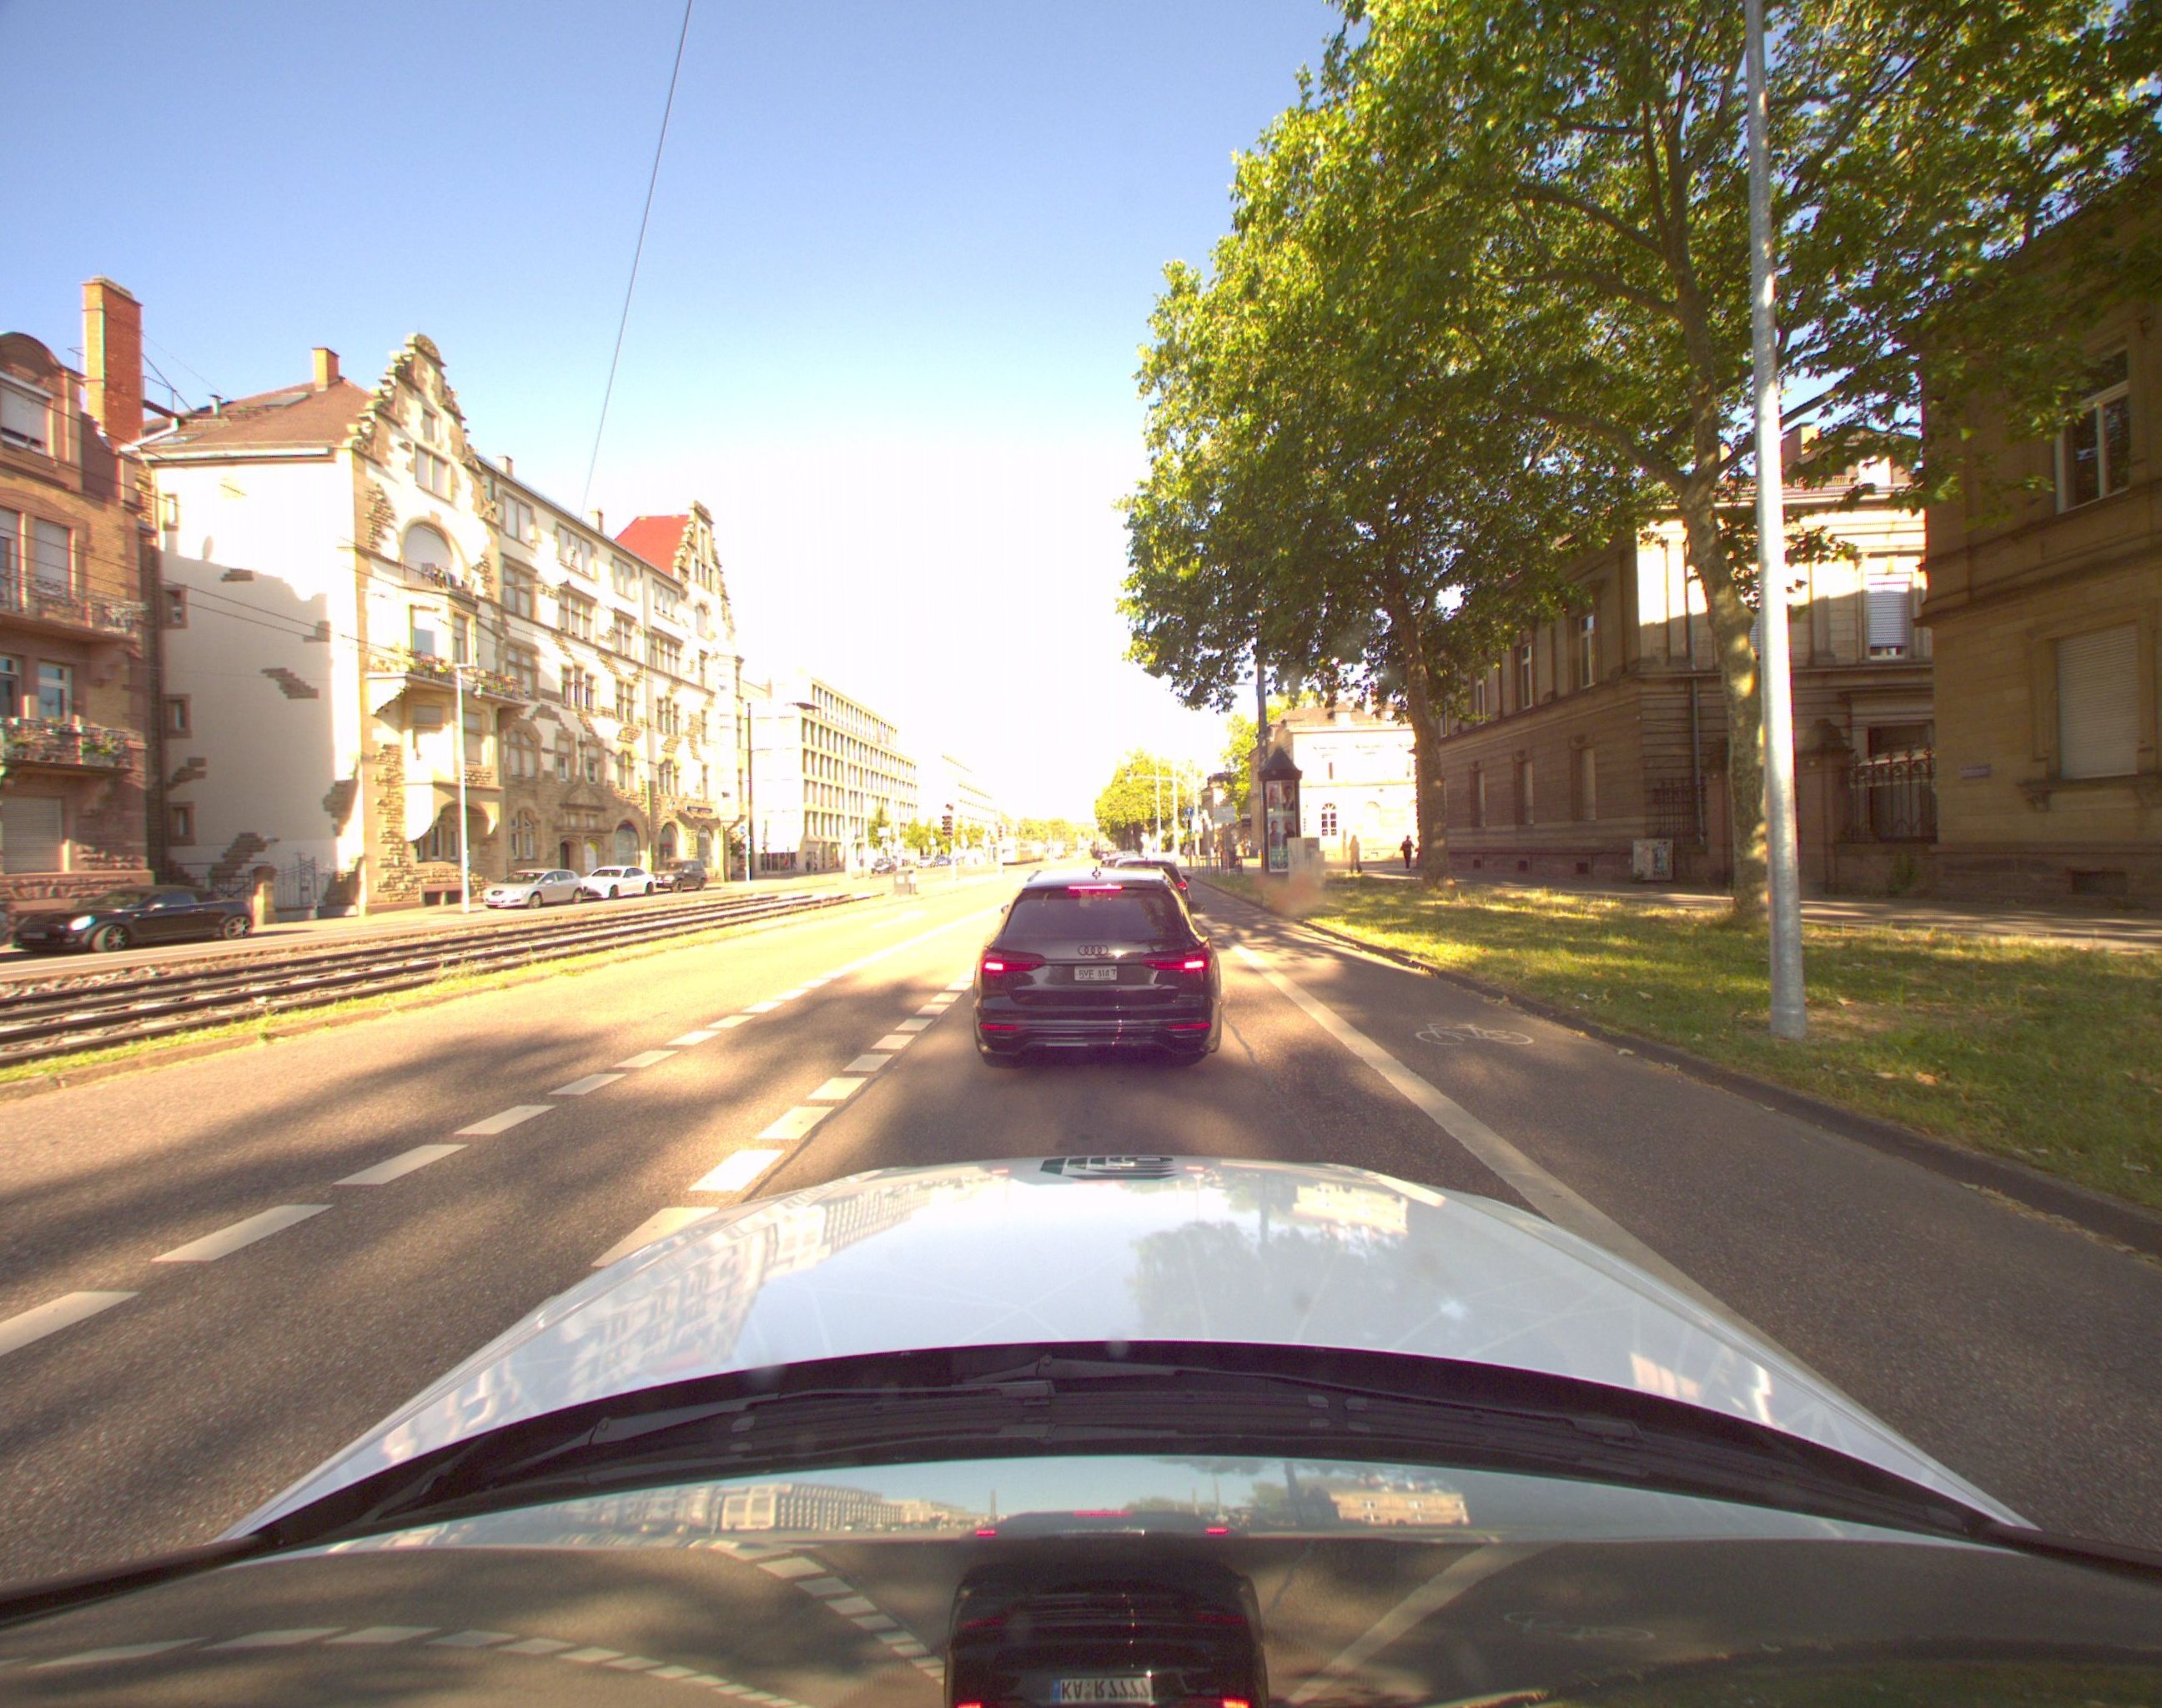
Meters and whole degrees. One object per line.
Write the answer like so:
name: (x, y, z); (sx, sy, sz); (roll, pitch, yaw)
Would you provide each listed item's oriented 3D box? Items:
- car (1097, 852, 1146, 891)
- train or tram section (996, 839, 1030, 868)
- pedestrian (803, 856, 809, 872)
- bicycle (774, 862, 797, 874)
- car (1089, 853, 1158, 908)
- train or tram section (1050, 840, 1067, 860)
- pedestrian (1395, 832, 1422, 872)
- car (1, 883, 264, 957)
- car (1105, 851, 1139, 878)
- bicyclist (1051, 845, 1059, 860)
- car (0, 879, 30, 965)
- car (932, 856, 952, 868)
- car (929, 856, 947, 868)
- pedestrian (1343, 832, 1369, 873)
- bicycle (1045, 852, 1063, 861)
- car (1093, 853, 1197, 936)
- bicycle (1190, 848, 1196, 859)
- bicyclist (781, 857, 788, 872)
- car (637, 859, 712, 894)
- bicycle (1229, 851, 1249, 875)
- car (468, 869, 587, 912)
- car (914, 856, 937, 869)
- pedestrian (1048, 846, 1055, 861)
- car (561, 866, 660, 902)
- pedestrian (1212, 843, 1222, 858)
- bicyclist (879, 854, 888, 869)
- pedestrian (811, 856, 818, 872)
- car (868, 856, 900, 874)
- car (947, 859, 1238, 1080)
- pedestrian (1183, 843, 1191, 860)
car: (1.659, 0.682, 33.726); (1.895, 1.486, 4.147); (-1, 0, 3)
train or tram section: (-8.787, -0.064, 107.060); (2.802, 3.489, 13.211); (-2, 0, 2)
pedestrian: (-31.625, 1.159, 93.559); (0.475, 1.843, 0.438); (-2, 0, -36)
bicycle: (-34.376, 1.642, 94.751); (2.386, 1.215, 0.574); (-2, 0, -16)
car: (1.266, 0.736, 24.413); (1.895, 1.486, 4.147); (-1, 0, 3)
train or tram section: (-4.172, -0.724, 150.673); (2.600, 3.450, 11.133); (-2, 0, 1)
pedestrian: (13.830, -0.085, 34.407); (0.766, 1.606, 0.987); (-2, 0, 3)
car: (-21.492, 1.432, 18.709); (1.616, 1.354, 3.727); (1, 0, 1)
car: (2.378, 0.578, 47.646); (1.895, 1.486, 4.147); (-1, 0, 3)
bicyclist: (-3.089, -0.214, 97.897); (0.758, 1.818, 0.761); (-2, 0, -14)
car: (-21.789, 1.320, 13.863); (1.849, 1.622, 4.504); (1, 0, 1)
car: (-18.550, 1.109, 108.746); (1.814, 1.457, 4.157); (-2, 0, 0)
car: (-21.998, 1.199, 125.103); (1.835, 1.812, 4.114); (-2, 0, 1)
pedestrian: (11.710, -0.066, 34.714); (0.766, 1.709, 1.043); (-2, 0, 3)
bicycle: (-3.199, 0.291, 97.871); (2.009, 1.108, 0.761); (-2, 0, -15)
car: (1.269, 0.746, 16.962); (1.895, 1.486, 4.147); (-1, 0, 3)
bicycle: (11.495, -0.035, 83.701); (0.433, 1.145, 1.340); (-2, 0, 1)
bicyclist: (-34.516, 1.198, 94.715); (0.642, 1.686, 0.574); (-2, 0, -16)
car: (-21.014, 1.120, 42.314); (1.711, 1.675, 4.217); (0, 0, 1)
bicycle: (7.449, 0.421, 38.467); (0.538, 1.061, 1.770); (-2, 0, -1)
car: (-21.131, 1.339, 31.311); (1.704, 1.431, 4.223); (0, 0, 0)
car: (-18.513, 0.991, 97.180); (1.814, 1.457, 4.540); (-2, 0, 0)
pedestrian: (-3.604, -0.060, 99.555); (0.741, 1.741, 0.660); (-2, 0, -13)
car: (-21.204, 1.296, 36.927); (1.711, 1.423, 4.656); (0, 0, 1)
pedestrian: (16.248, -0.419, 97.338); (0.975, 1.865, 0.827); (-2, 0, 2)
bicyclist: (-21.412, 0.787, 88.110); (0.682, 1.563, 0.786); (-2, 0, 3)
pedestrian: (-30.732, 1.122, 93.940); (0.535, 1.843, 0.438); (-2, 0, -36)
car: (-17.702, 0.983, 73.454); (1.814, 1.457, 4.164); (-2, 0, -1)
car: (0.171, 0.775, 7.424); (1.895, 1.422, 4.147); (-1, 0, 3)
pedestrian: (10.872, -0.237, 83.695); (0.679, 1.660, 0.758); (-2, 0, 0)
